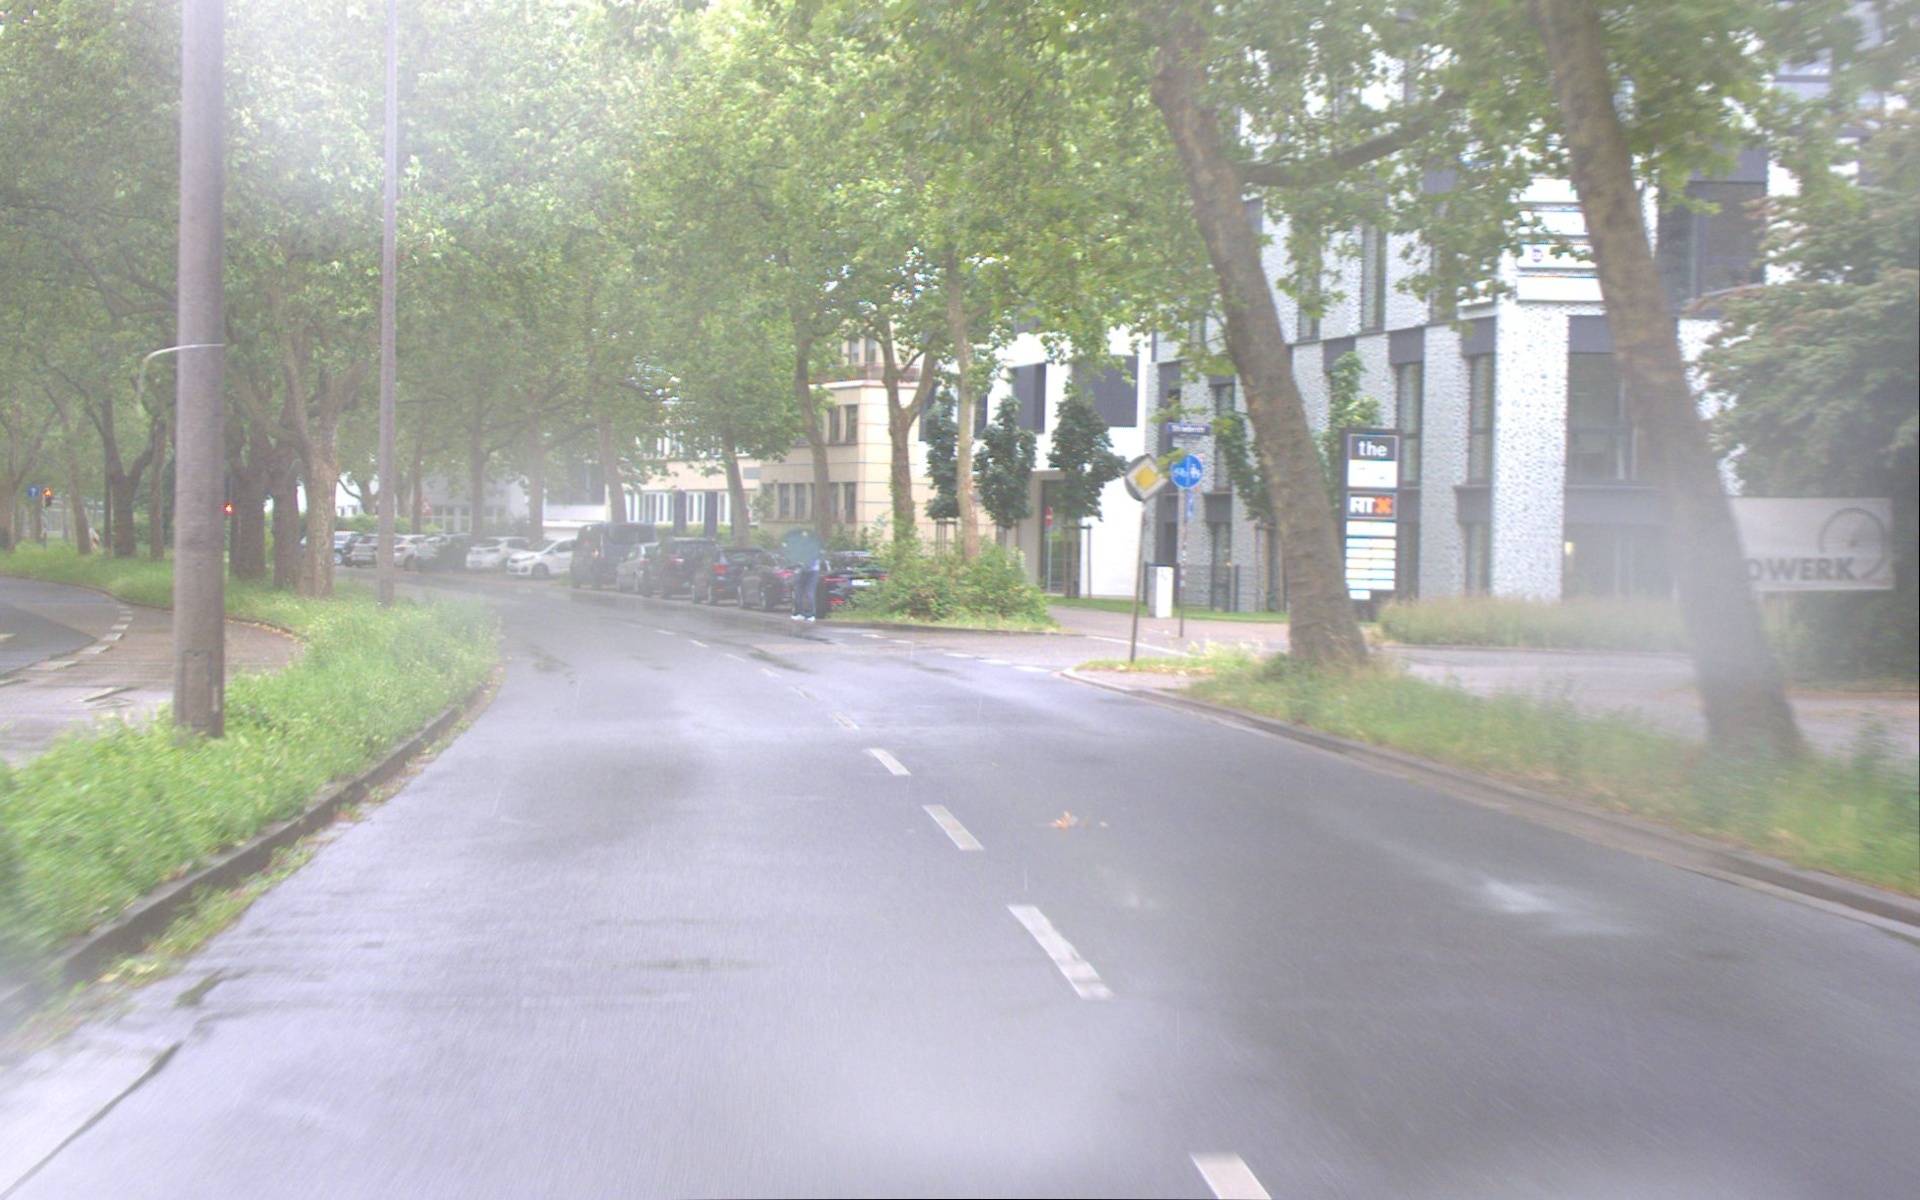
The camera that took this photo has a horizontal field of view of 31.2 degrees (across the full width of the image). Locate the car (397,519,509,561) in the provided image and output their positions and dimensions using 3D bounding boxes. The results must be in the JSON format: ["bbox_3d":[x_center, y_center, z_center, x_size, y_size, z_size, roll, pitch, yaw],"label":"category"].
[{"bbox_3d":[-19.571,-2.326,132.774,3.867,1.499,1.888,0,3,-26],"label":"car"}]

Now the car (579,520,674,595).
[{"bbox_3d":[-9.959,-1.280,102.541,2.121,2.081,4.002,1,2,-15],"label":"car"}]

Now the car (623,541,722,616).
[{"bbox_3d":[-7.626,-0.592,90.866,1.993,1.776,4.002,1,2,-13],"label":"car"}]

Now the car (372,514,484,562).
[{"bbox_3d":[-21.298,-2.470,137.622,3.986,1.825,2.000,0,3,-28],"label":"car"}]

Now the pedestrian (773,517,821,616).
[{"bbox_3d":[-3.276,-0.684,69.004,0.854,1.943,0.709,1,2,-8],"label":"pedestrian"}]

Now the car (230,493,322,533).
[{"bbox_3d":[-32.900,-4.177,165.395,3.986,1.813,2.001,0,3,-25],"label":"car"}]

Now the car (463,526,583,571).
[{"bbox_3d":[-15.770,-1.859,123.987,3.867,1.488,1.888,0,3,-26],"label":"car"}]

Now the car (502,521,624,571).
[{"bbox_3d":[-13.912,-1.902,120.488,3.866,1.645,1.889,1,2,-20],"label":"car"}]

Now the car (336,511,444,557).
[{"bbox_3d":[-23.664,-2.734,142.754,3.986,1.813,2.001,0,3,-25],"label":"car"}]

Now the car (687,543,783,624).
[{"bbox_3d":[-5.524,-0.423,83.963,1.993,1.776,4.001,1,2,-8],"label":"car"}]
